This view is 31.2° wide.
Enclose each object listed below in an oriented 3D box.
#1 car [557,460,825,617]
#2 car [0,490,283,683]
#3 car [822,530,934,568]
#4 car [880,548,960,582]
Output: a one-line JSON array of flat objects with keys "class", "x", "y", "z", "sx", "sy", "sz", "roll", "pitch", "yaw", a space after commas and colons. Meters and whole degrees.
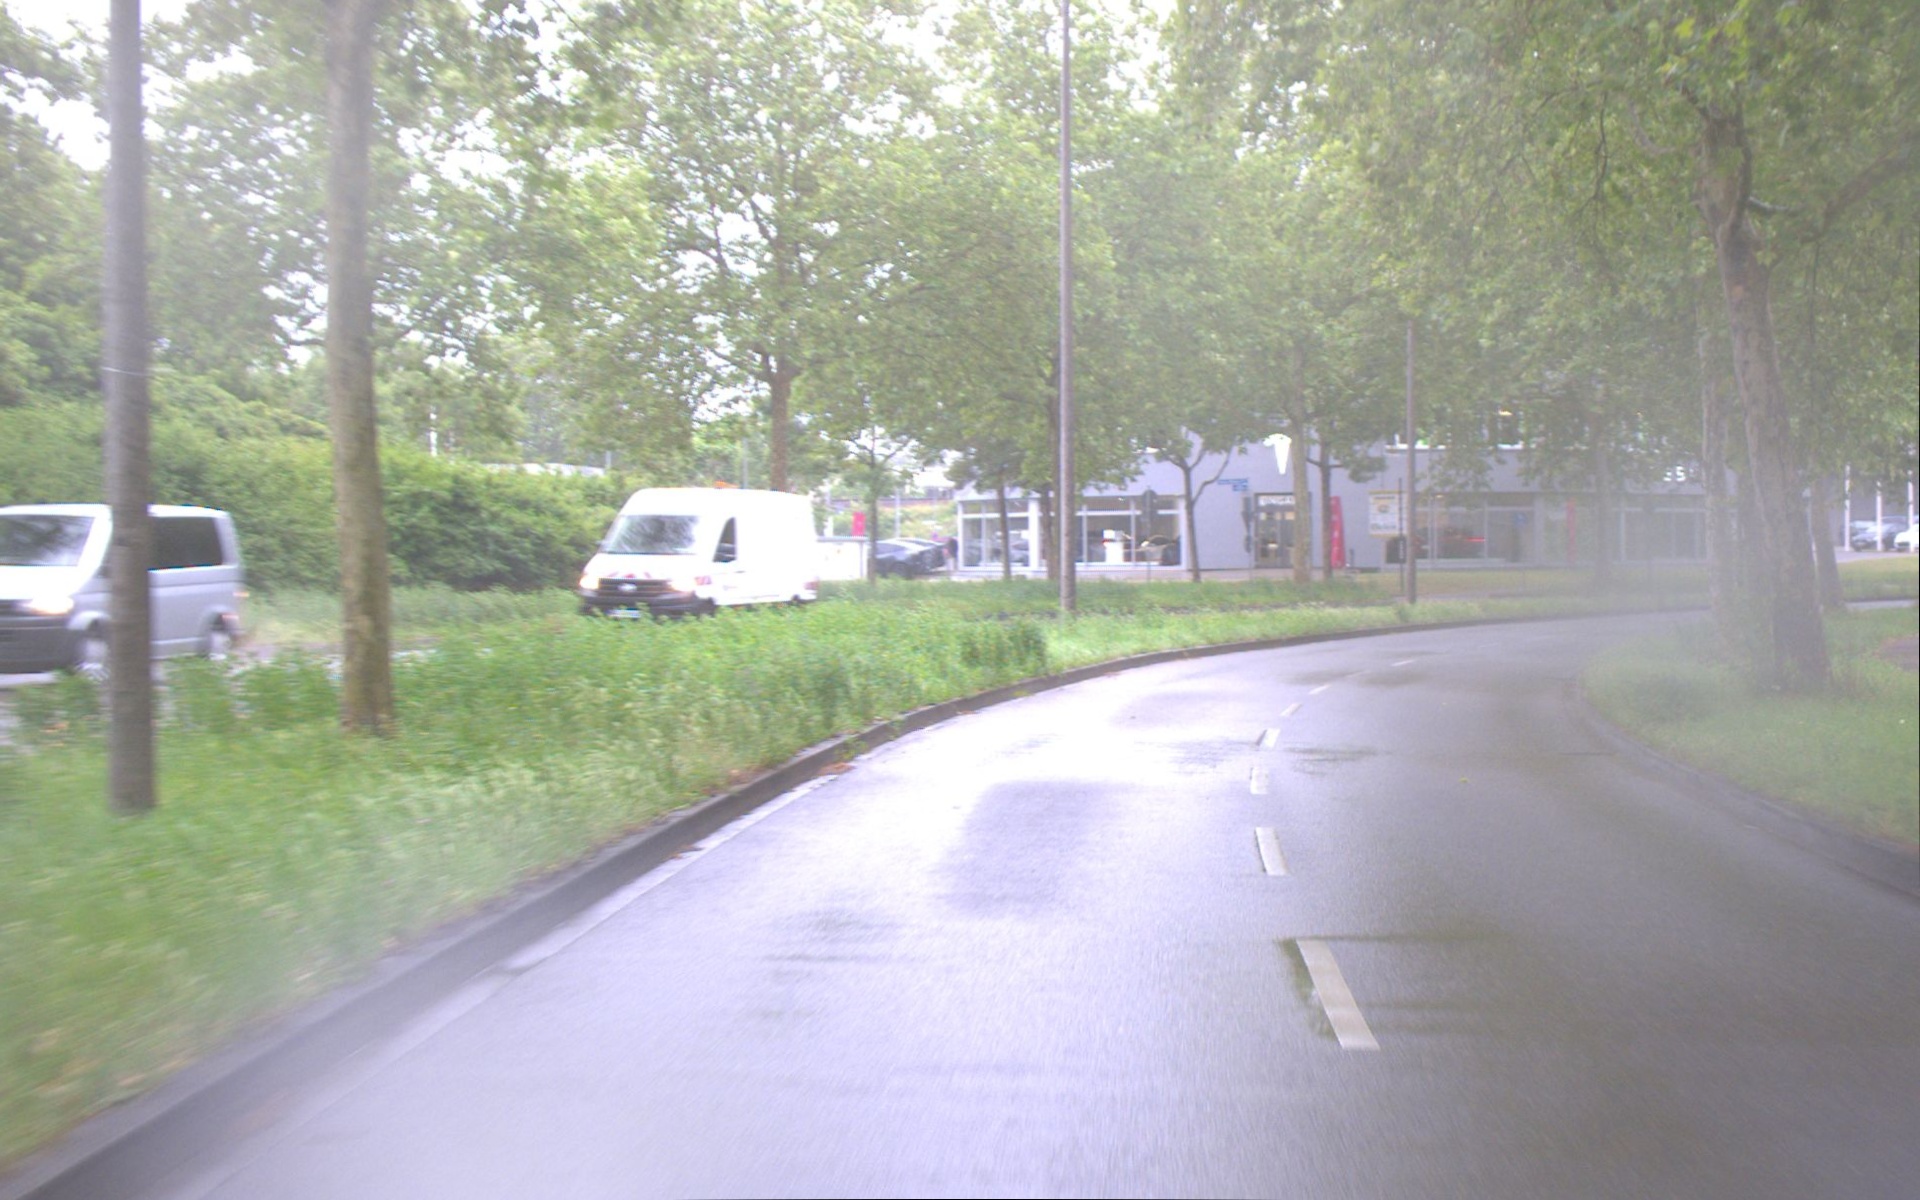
[{"class": "car", "x": -4.309, "y": -1.011, "z": 56.432, "sx": 2.280, "sy": 2.418, "sz": 6.355, "roll": 0, "pitch": 1, "yaw": 16}, {"class": "car", "x": -9.423, "y": -0.181, "z": 37.293, "sx": 1.935, "sy": 1.933, "sz": 5.194, "roll": 0, "pitch": 1, "yaw": 16}, {"class": "car", "x": -3.295, "y": -2.055, "z": 138.039, "sx": 4.194, "sy": 1.489, "sz": 1.597, "roll": 1, "pitch": 1, "yaw": 14}, {"class": "car", "x": -1.802, "y": -1.596, "z": 155.531, "sx": 3.308, "sy": 1.489, "sz": 1.597, "roll": 1, "pitch": 1, "yaw": 14}]
